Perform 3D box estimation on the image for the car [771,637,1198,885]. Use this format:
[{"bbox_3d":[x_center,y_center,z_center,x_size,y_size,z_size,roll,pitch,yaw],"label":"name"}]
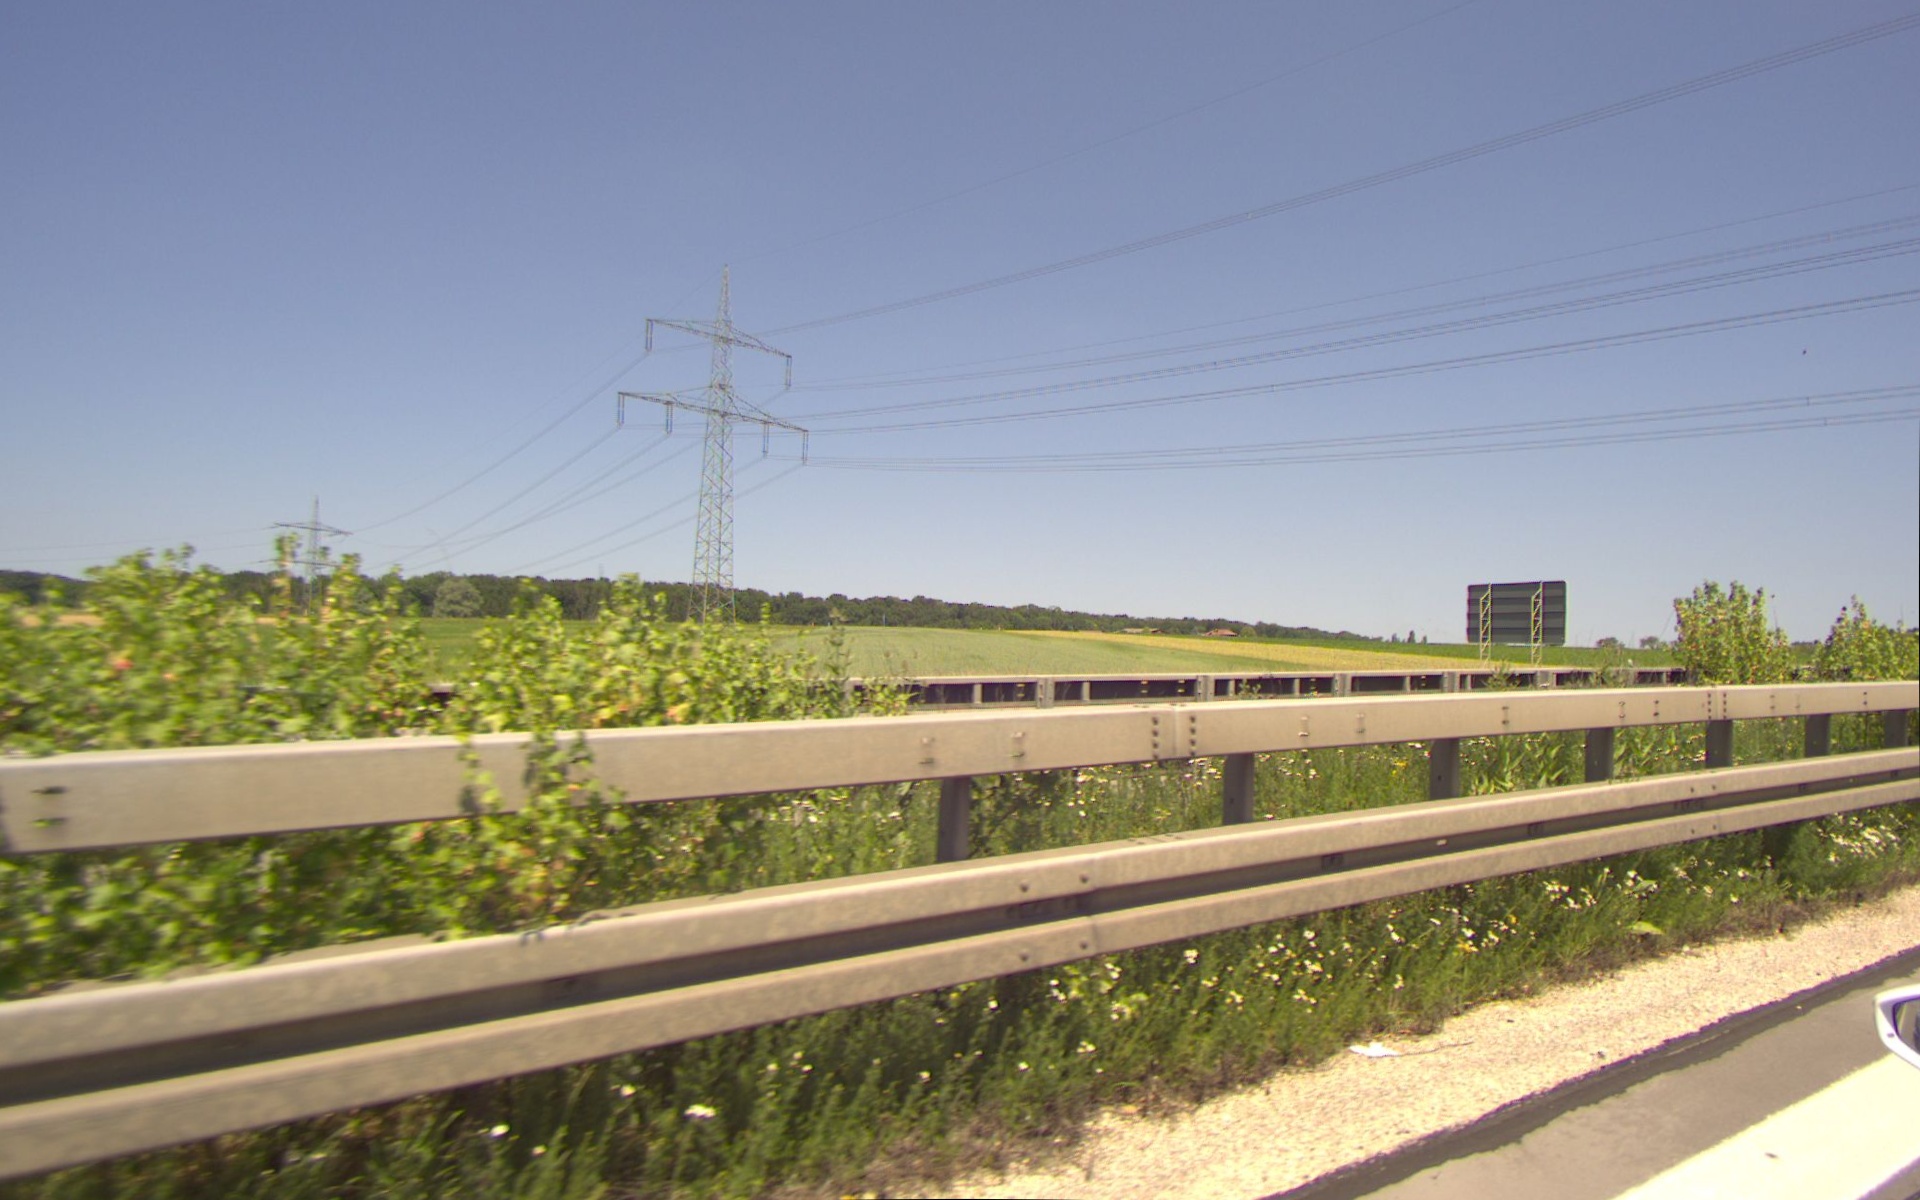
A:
[{"bbox_3d":[0.249,1.215,8.637,3.317,1.679,1.589,2,0,-31],"label":"car"}]
